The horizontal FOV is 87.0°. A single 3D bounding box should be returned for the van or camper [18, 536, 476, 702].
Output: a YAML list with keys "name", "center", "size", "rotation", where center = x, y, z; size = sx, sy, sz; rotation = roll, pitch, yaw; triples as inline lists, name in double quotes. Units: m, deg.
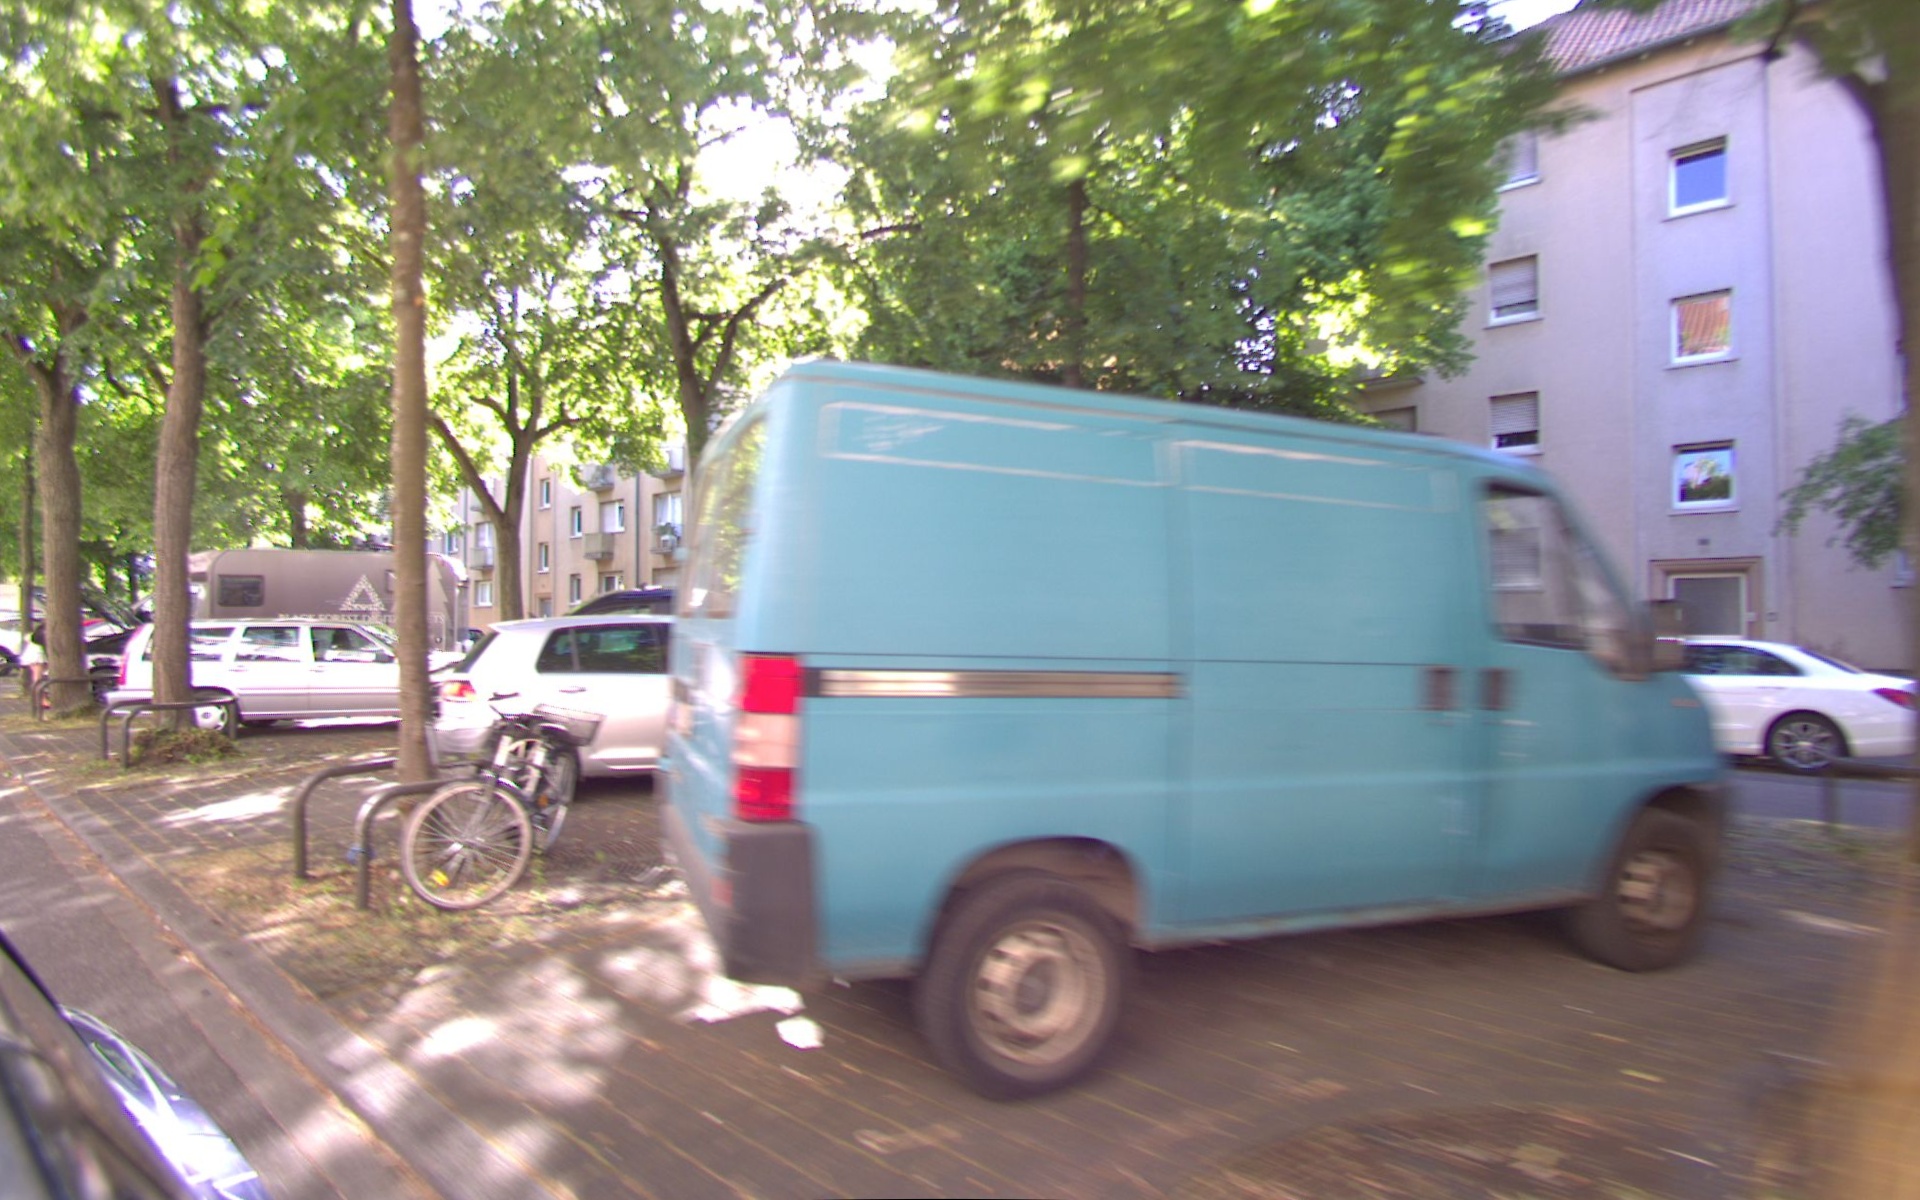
- name: "van or camper"
  center: [-13.778, 0.412, 20.331]
  size: [7.124, 2.952, 2.321]
  rotation: [1, -2, -21]

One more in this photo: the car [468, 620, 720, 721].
- name: "car"
  center: [-5.623, 1.034, 15.809]
  size: [3.512, 1.435, 1.680]
  rotation: [0, -2, -19]

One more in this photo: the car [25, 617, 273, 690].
- name: "car"
  center: [-17.956, 1.171, 22.640]
  size: [3.931, 1.519, 1.763]
  rotation: [1, -2, -19]

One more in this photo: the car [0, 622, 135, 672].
- name: "car"
  center: [-28.749, 1.444, 31.569]
  size: [4.349, 1.473, 1.721]
  rotation: [0, -1, -15]

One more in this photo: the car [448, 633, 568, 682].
- name: "car"
  center: [-14.966, 1.849, 33.412]
  size: [4.532, 1.519, 1.972]
  rotation: [-2, -3, 42]

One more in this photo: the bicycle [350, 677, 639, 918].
- name: "bicycle"
  center: [-2.434, 0.972, 5.542]
  size: [0.506, 1.014, 1.718]
  rotation: [0, -2, 12]

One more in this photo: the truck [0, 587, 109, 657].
- name: "truck"
  center: [-46.744, 1.091, 49.629]
  size: [7.200, 3.319, 2.554]
  rotation: [1, -2, -16]

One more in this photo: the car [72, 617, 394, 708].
- name: "car"
  center: [-12.398, 1.026, 17.609]
  size: [4.254, 1.435, 1.680]
  rotation: [0, -2, -21]

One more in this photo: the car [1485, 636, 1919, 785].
- name: "car"
  center: [8.662, 1.143, 11.654]
  size: [4.362, 1.435, 1.646]
  rotation: [-2, -2, 42]

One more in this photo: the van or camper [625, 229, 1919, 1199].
- name: "van or camper"
  center: [1.484, 0.335, 4.487]
  size: [5.420, 2.293, 2.228]
  rotation: [1, -2, -24]

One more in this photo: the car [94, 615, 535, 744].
- name: "car"
  center: [-7.908, 0.929, 12.895]
  size: [4.413, 1.454, 1.737]
  rotation: [0, -2, -15]

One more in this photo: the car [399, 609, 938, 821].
- name: "car"
  center: [-2.331, 0.822, 8.479]
  size: [3.888, 1.454, 1.852]
  rotation: [0, -2, -20]

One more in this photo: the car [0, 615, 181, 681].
- name: "car"
  center: [-23.762, 1.268, 27.221]
  size: [4.075, 1.692, 1.765]
  rotation: [0, -2, -19]

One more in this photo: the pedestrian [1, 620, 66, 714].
- name: "pedestrian"
  center: [-14.848, 1.063, 16.225]
  size: [0.606, 1.467, 0.521]
  rotation: [1, -2, -25]

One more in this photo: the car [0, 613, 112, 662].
- name: "car"
  center: [-37.305, 1.494, 40.746]
  size: [4.445, 1.879, 2.088]
  rotation: [0, -1, -23]

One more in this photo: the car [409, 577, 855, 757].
- name: "car"
  center: [-3.591, 0.691, 11.569]
  size: [4.482, 1.777, 1.816]
  rotation: [0, -2, -17]

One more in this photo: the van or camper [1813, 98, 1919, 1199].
- name: "van or camper"
  center: [5.360, 0.112, 2.461]
  size: [5.786, 2.657, 2.262]
  rotation: [1, -2, -18]

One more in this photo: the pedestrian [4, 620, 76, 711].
- name: "pedestrian"
  center: [-15.259, 1.076, 16.803]
  size: [0.699, 1.467, 0.598]
  rotation: [1, -2, -25]

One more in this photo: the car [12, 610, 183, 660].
- name: "car"
  center: [-32.938, 1.346, 38.832]
  size: [4.526, 1.846, 2.025]
  rotation: [1, -2, -19]
